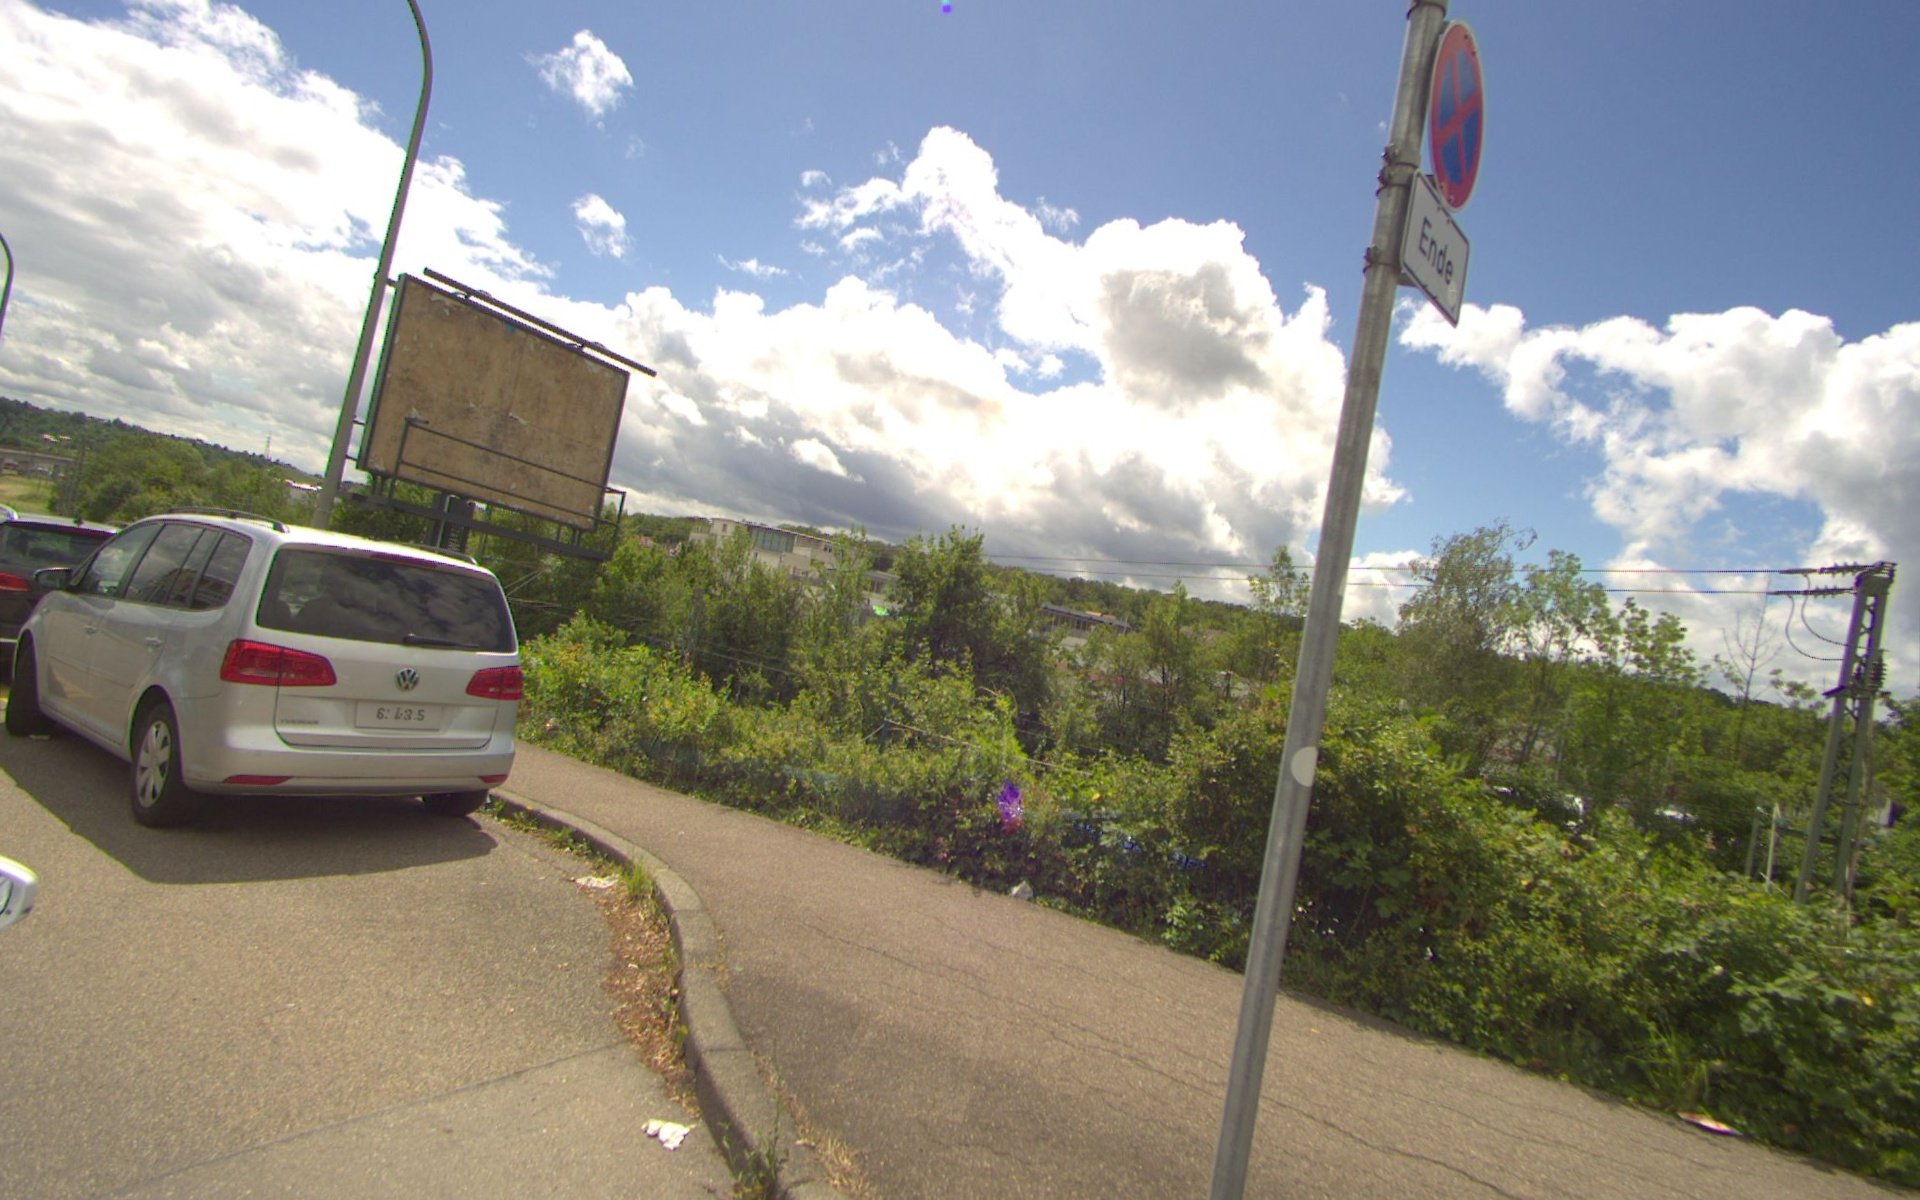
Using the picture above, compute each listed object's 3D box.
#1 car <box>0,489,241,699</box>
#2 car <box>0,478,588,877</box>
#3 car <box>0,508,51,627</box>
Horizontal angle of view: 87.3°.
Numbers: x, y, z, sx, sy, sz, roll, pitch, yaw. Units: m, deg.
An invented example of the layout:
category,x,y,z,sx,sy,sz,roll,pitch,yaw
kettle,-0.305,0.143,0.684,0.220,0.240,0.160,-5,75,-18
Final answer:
category,x,y,z,sx,sy,sz,roll,pitch,yaw
car,-8.780,-0.195,9.533,4.502,1.502,1.709,7,-4,36
car,-4.482,0.310,6.395,4.241,1.695,1.709,7,-4,36
car,-14.264,-0.681,13.778,3.895,1.495,1.709,7,-4,35
